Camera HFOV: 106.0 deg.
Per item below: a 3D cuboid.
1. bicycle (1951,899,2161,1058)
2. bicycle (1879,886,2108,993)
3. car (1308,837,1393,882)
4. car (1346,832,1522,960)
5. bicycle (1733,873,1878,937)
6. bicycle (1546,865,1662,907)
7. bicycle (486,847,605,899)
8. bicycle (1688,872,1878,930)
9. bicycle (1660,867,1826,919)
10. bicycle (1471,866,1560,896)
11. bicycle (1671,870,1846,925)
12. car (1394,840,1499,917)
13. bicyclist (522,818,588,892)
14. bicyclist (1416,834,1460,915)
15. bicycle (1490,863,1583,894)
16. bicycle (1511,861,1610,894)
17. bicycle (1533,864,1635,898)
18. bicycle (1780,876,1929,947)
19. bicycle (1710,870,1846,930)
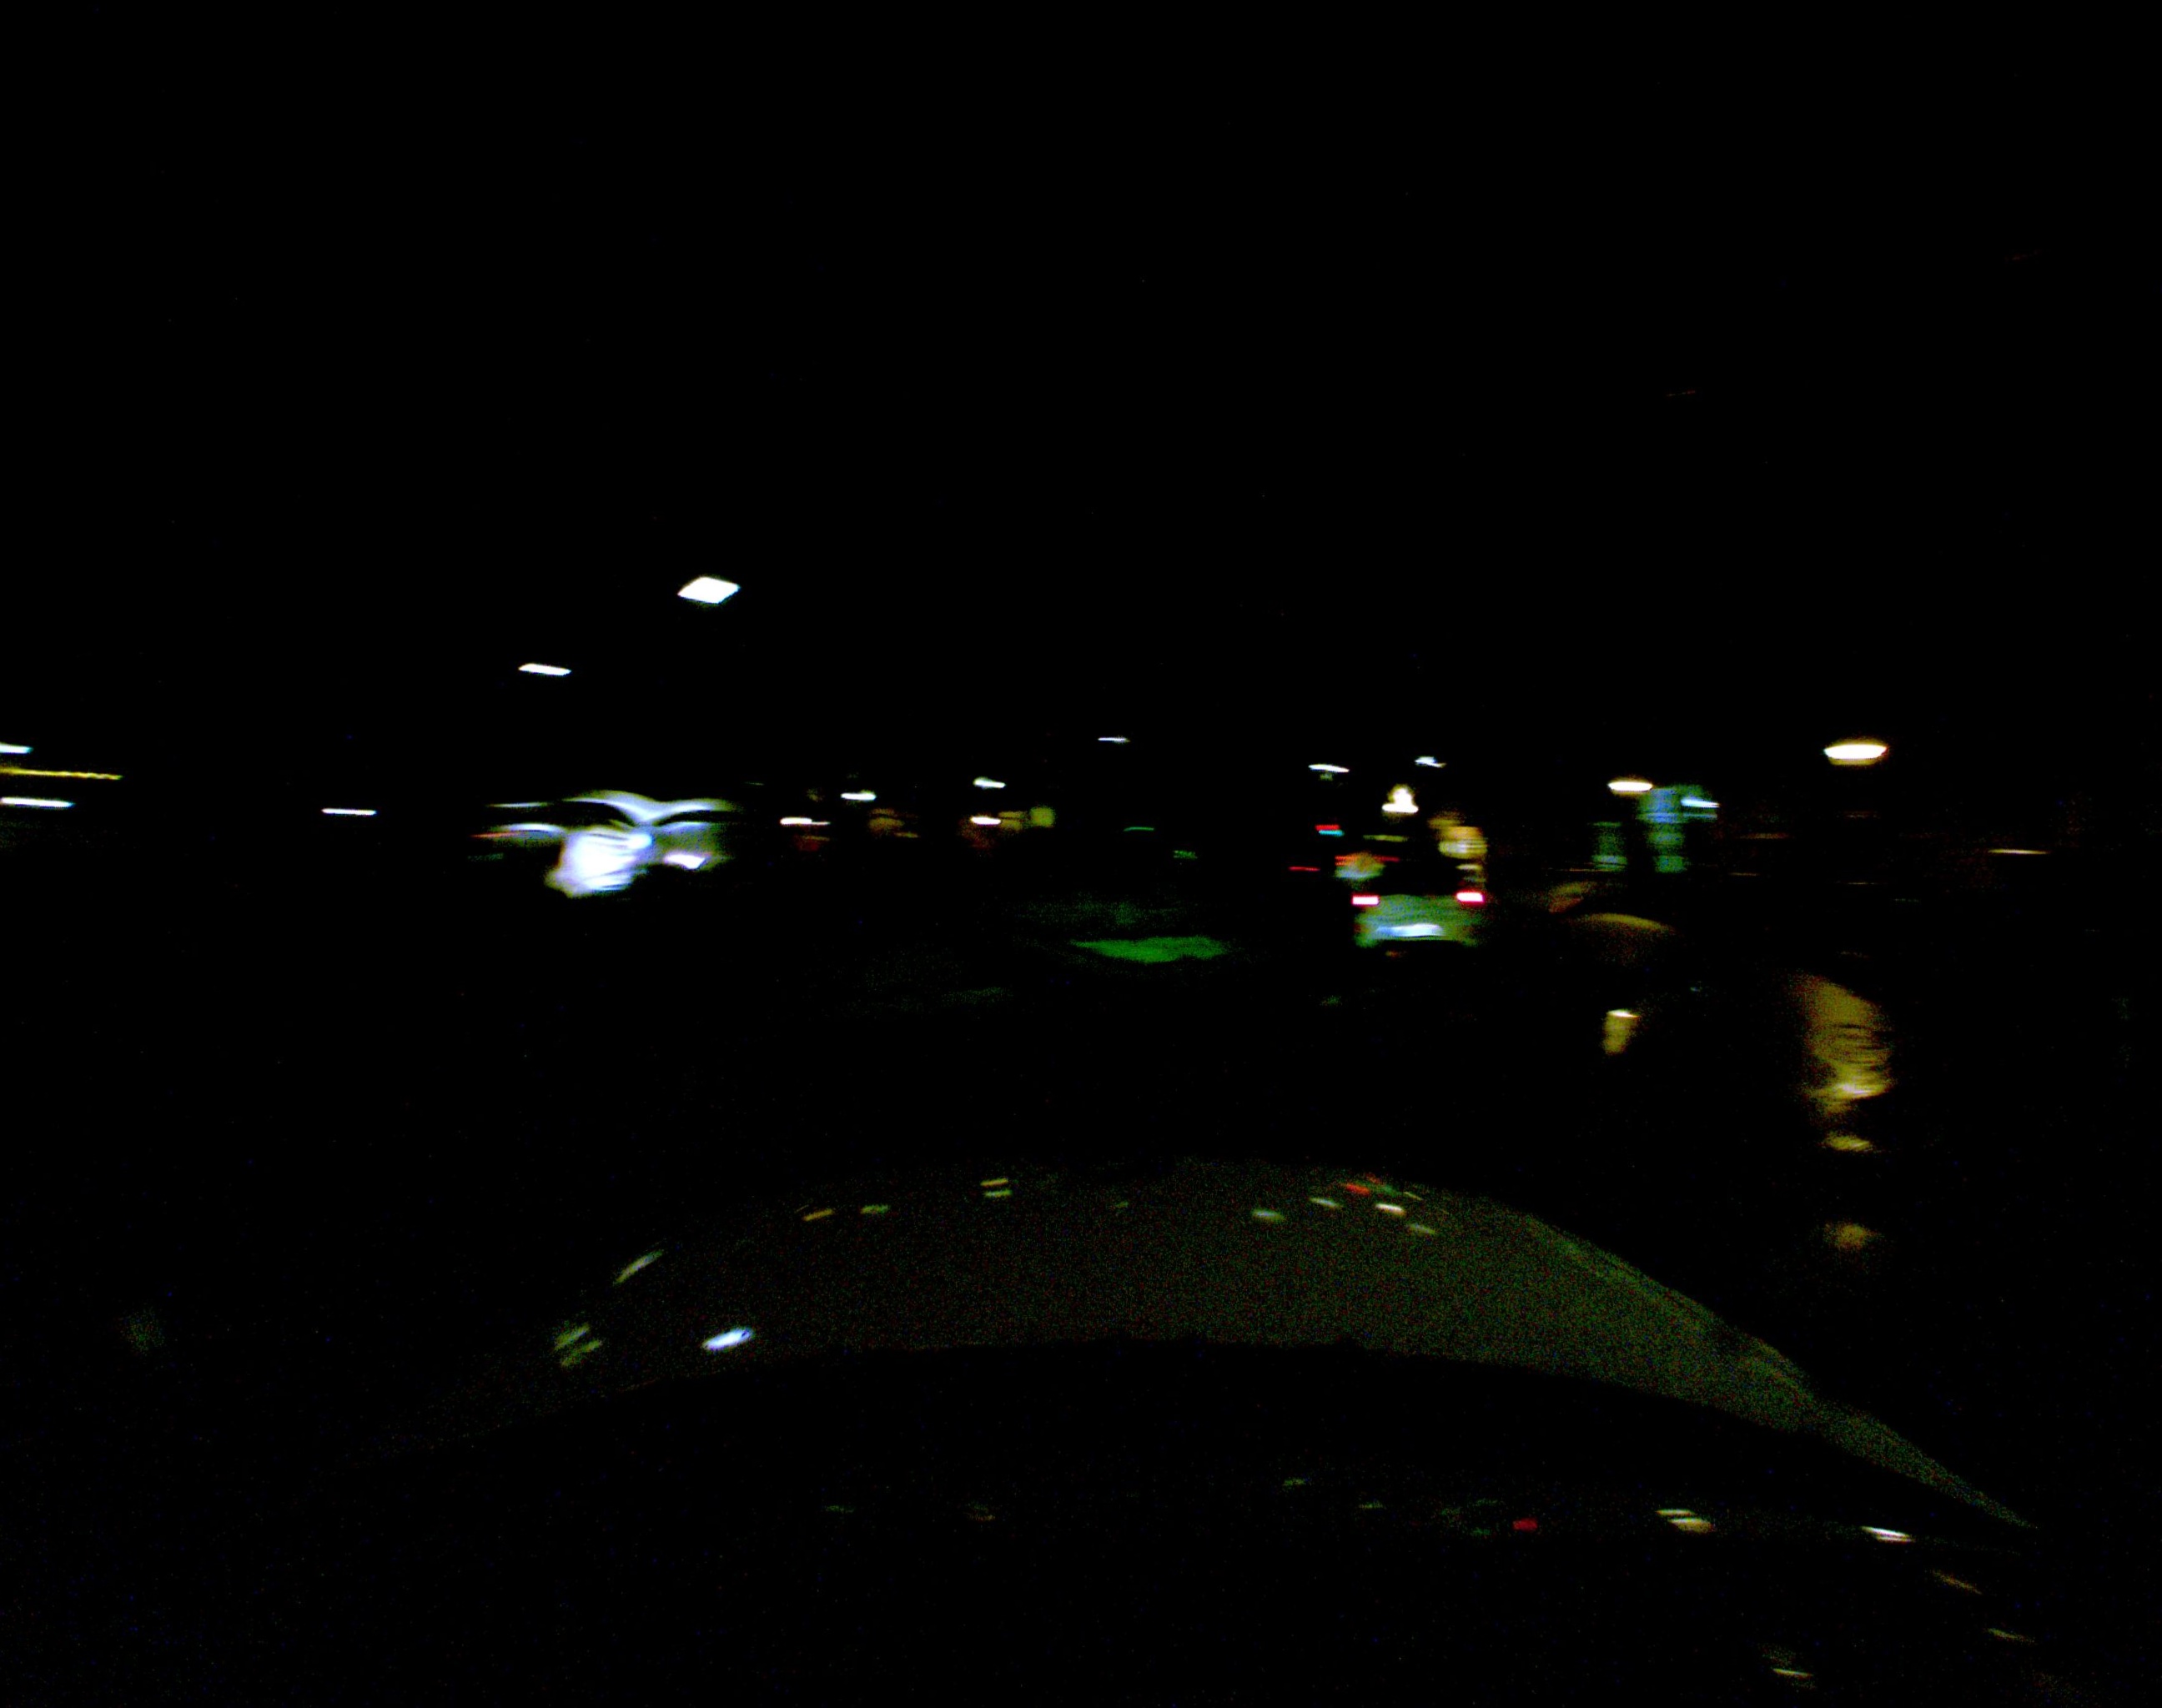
[{"bbox_3d":[7.624,0.901,5.968,1.642,1.059,0.453,0,0,30],"label":"bicycle"},{"bbox_3d":[10.104,0.913,9.091,1.642,1.059,0.453,0,0,30],"label":"bicycle"},{"bbox_3d":[11.412,0.253,34.774,1.991,1.728,3.992,2,-1,-6],"label":"car"},{"bbox_3d":[5.368,0.572,12.150,1.714,1.613,3.483,1,-1,35],"label":"car"},{"bbox_3d":[13.034,0.899,14.714,1.913,1.059,0.453,0,0,24],"label":"bicycle"},{"bbox_3d":[15.079,0.899,23.573,2.742,1.129,0.729,0,0,25],"label":"bicycle"},{"bbox_3d":[-10.229,0.372,15.612,0.493,0.932,1.795,1,-2,40],"label":"bicycle"},{"bbox_3d":[13.710,0.888,16.025,2.742,1.026,0.729,0,0,25],"label":"bicycle"},{"bbox_3d":[14.521,0.832,17.975,2.742,1.026,0.729,0,0,25],"label":"bicycle"},{"bbox_3d":[15.463,0.958,29.029,2.756,1.026,0.725,0,0,1],"label":"bicycle"},{"bbox_3d":[14.185,0.887,17.174,2.742,1.026,0.729,0,0,25],"label":"bicycle"},{"bbox_3d":[9.269,0.616,20.960,1.978,1.728,4.018,1,-1,18],"label":"car"},{"bbox_3d":[-10.147,0.026,15.717,0.498,1.380,0.900,1,-2,40],"label":"bicyclist"},{"bbox_3d":[7.639,0.438,17.400,0.789,1.675,0.712,1,-2,27],"label":"bicyclist"},{"bbox_3d":[15.492,0.824,27.762,2.756,1.026,0.725,0,0,1],"label":"bicycle"},{"bbox_3d":[15.461,0.744,26.309,2.756,1.026,0.725,0,0,1],"label":"bicycle"},{"bbox_3d":[15.452,0.831,25.043,2.761,1.026,0.724,0,0,-3],"label":"bicycle"},{"bbox_3d":[12.607,0.916,13.337,1.714,1.059,0.453,0,0,30],"label":"bicycle"},{"bbox_3d":[13.153,0.844,15.430,1.913,1.059,0.453,0,0,24],"label":"bicycle"}]
